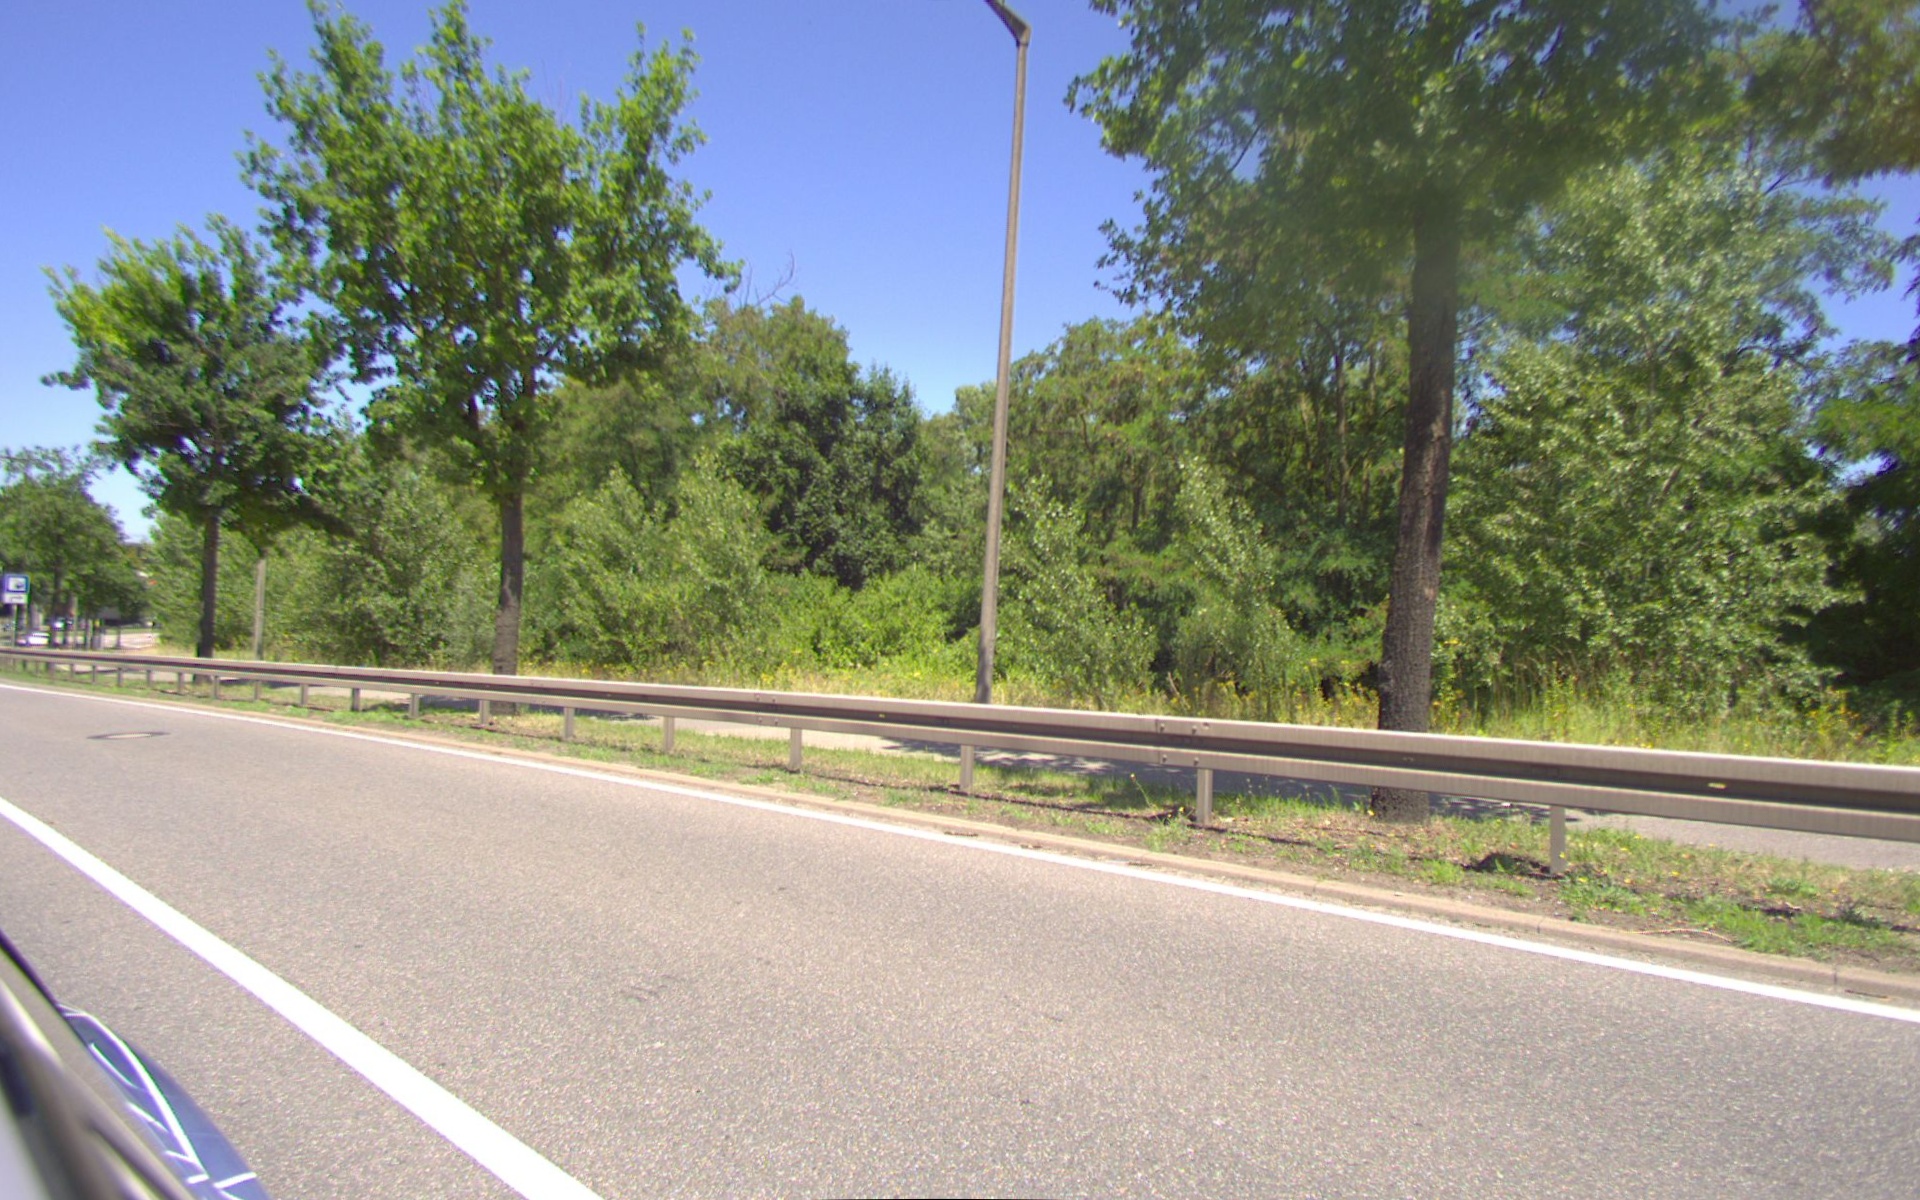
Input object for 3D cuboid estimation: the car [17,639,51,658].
[{"bbox_3d":[-81.158,4.245,88.696,1.752,1.454,4.009,0,0,-36],"label":"car"}]
